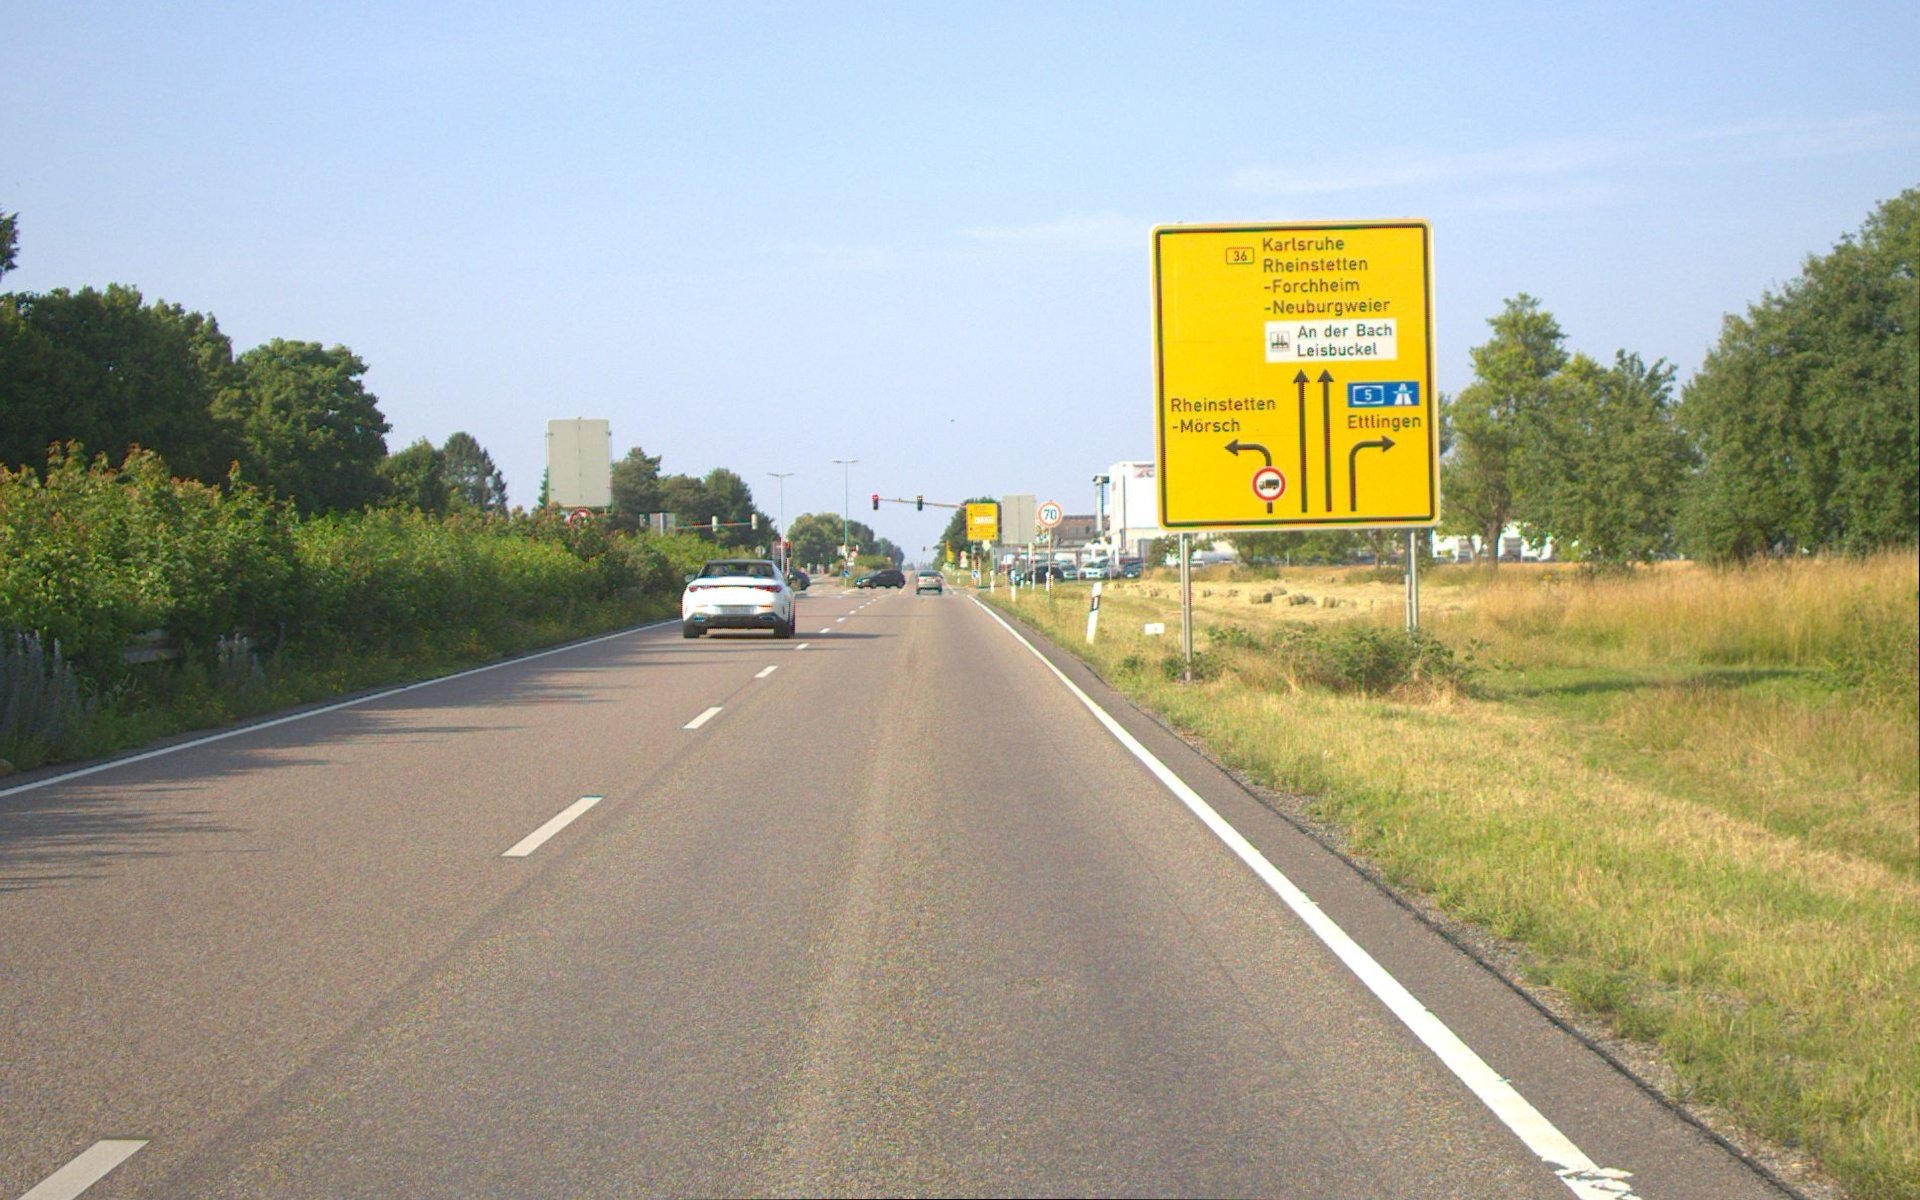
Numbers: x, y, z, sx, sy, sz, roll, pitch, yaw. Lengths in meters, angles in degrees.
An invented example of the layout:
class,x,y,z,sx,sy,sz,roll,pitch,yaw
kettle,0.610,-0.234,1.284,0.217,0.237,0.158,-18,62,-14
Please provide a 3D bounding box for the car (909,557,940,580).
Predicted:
class,x,y,z,sx,sy,sz,roll,pitch,yaw
car,-2.383,-2.101,230.405,1.993,1.481,4.000,0,1,-1

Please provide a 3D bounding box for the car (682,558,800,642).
class,x,y,z,sx,sy,sz,roll,pitch,yaw
car,-3.826,-0.020,60.586,1.909,1.417,4.000,0,1,-1
